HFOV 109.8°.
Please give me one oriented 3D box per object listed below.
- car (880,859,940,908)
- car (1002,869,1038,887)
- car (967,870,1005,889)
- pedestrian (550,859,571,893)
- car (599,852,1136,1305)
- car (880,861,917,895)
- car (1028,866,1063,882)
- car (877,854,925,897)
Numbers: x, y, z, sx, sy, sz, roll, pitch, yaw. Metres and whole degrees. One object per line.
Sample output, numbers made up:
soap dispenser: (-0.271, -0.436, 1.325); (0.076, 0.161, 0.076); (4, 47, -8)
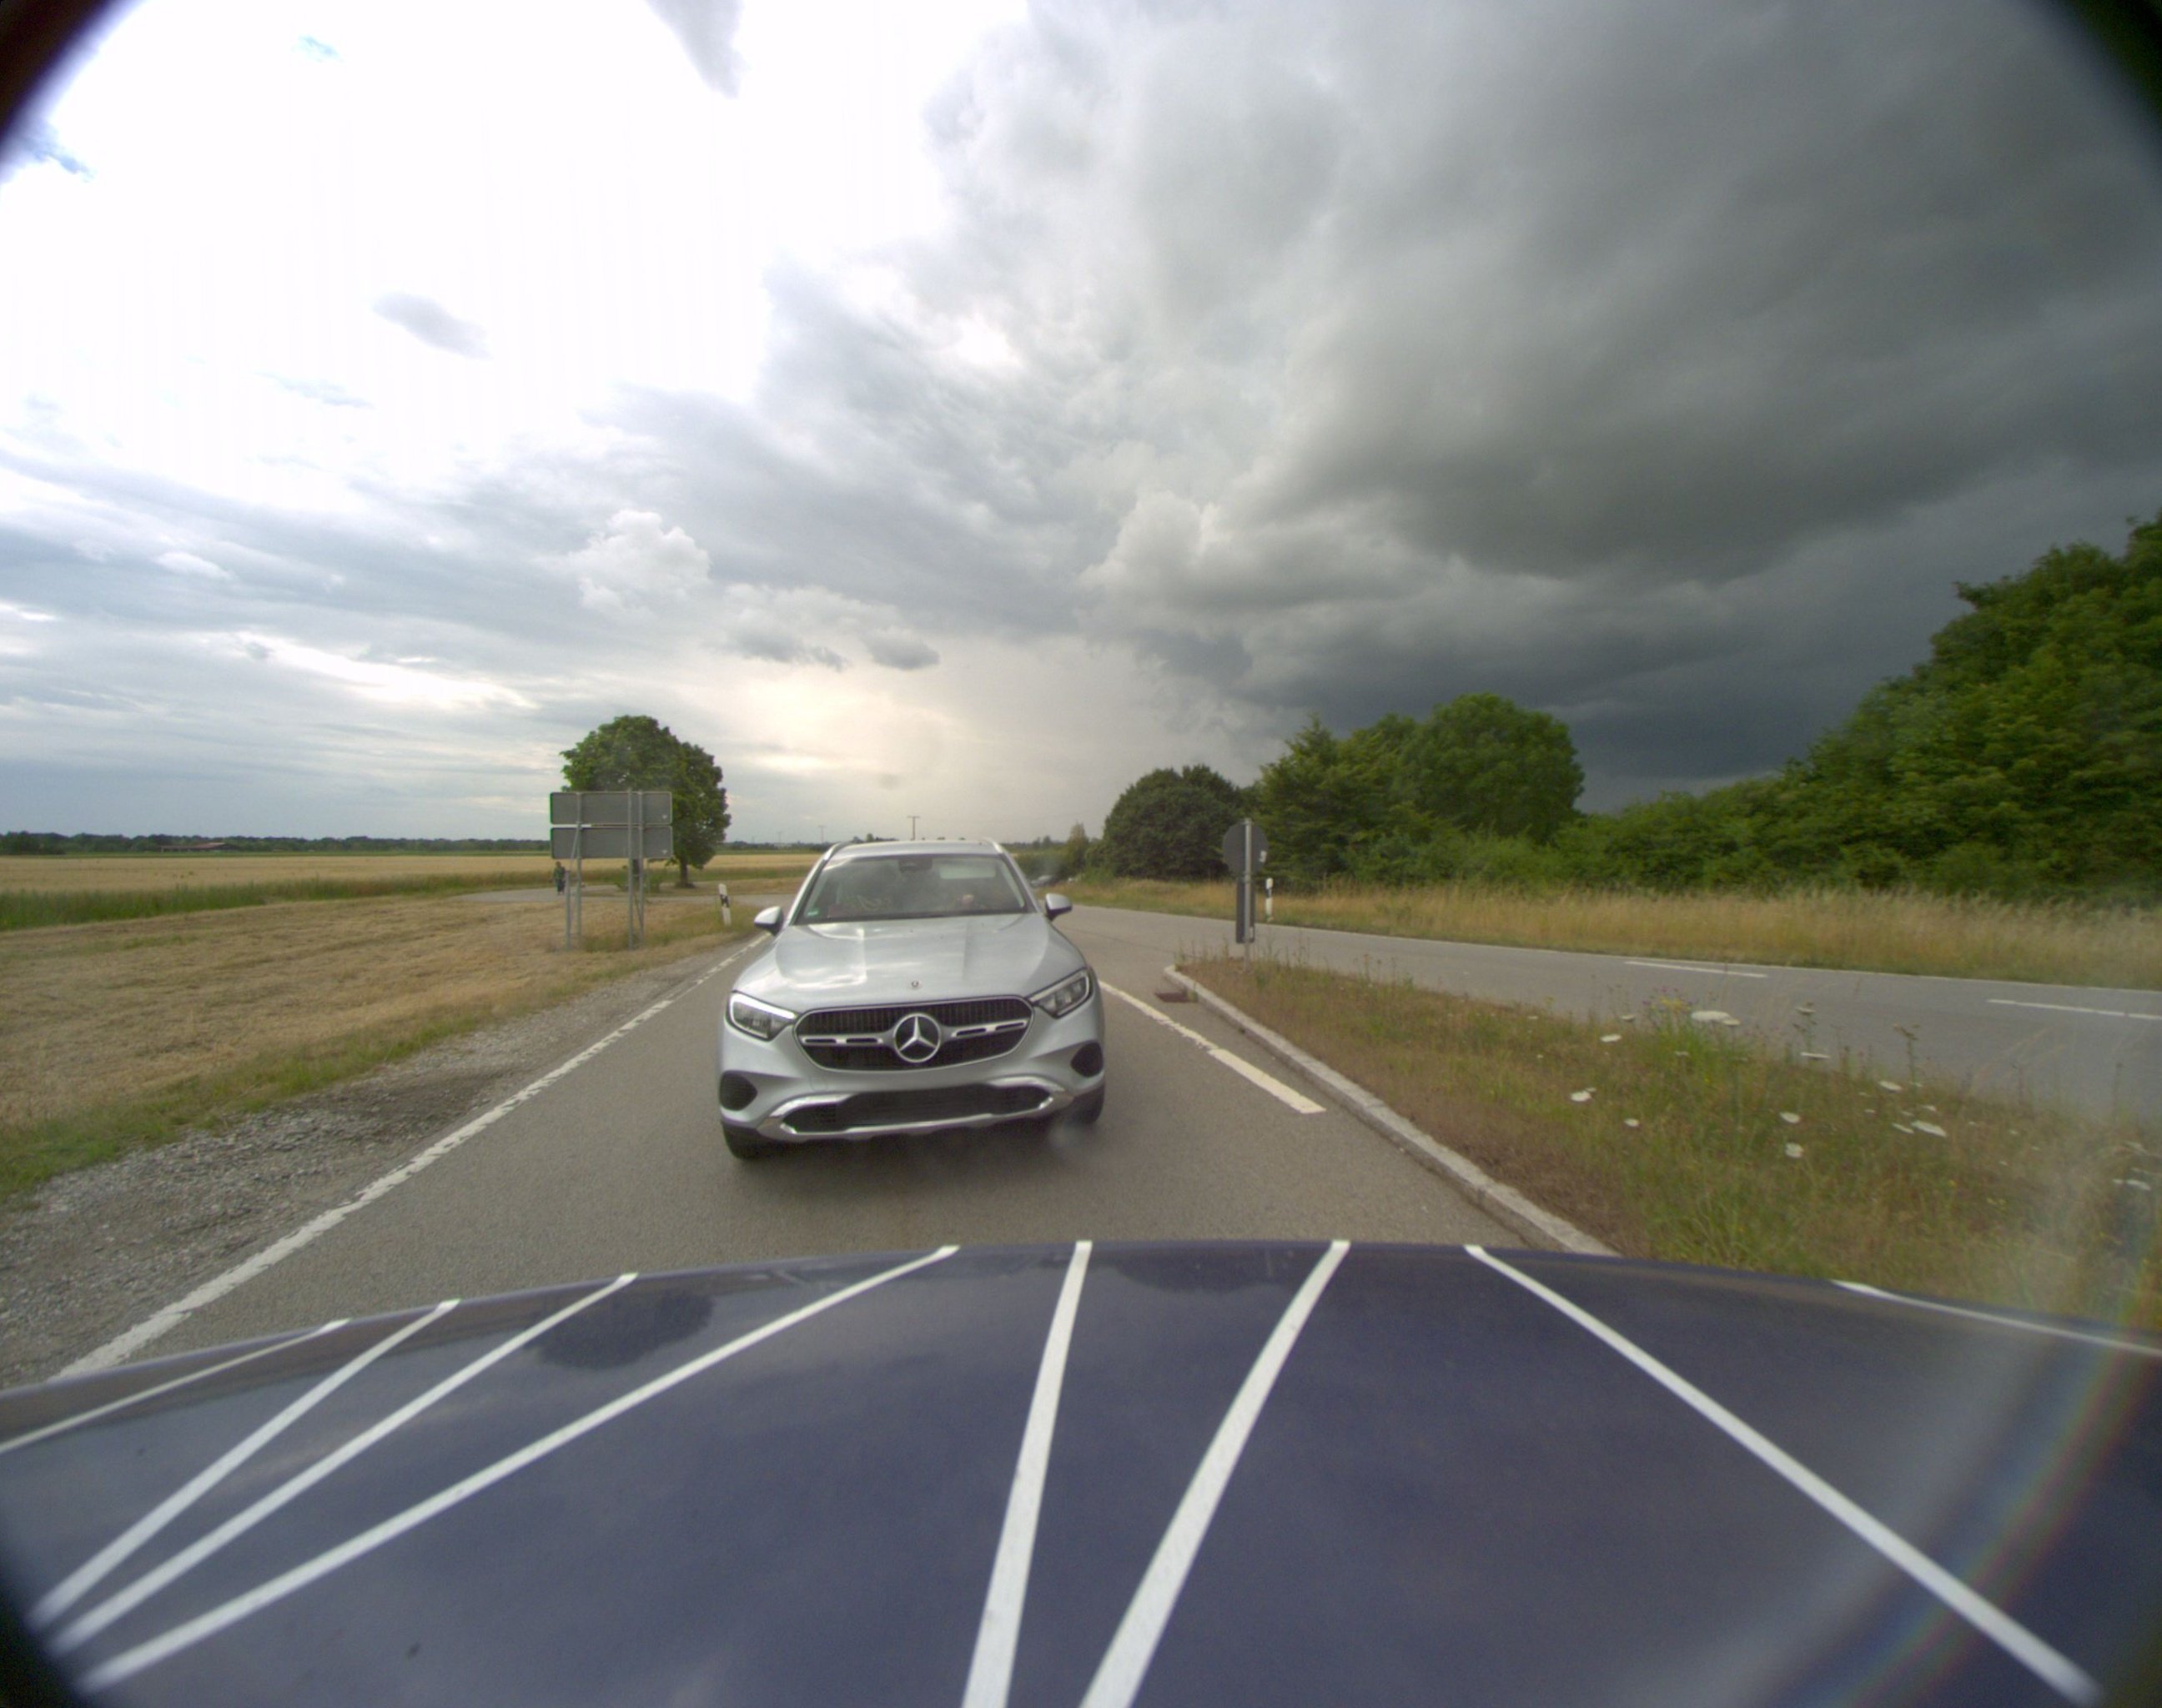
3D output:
car: (-5.644, 0.896, 24.994); (1.723, 1.345, 4.208); (-3, 1, -14)
car: (-5.942, 2.339, 74.667); (1.818, 1.524, 4.007); (0, 1, 24)
car: (-8.445, 2.210, 67.852); (1.818, 1.524, 4.006); (0, 1, 20)
pedestrian: (-25.139, 1.029, 36.710); (0.775, 1.602, 0.942); (-1, 1, -32)
car: (-1.187, 0.842, 5.188); (1.997, 1.577, 4.389); (-3, 1, -11)
car: (-9.468, 1.199, 39.398); (1.723, 1.486, 4.208); (-3, 1, -14)
car: (-3.672, 2.052, 79.730); (1.817, 1.524, 4.008); (0, 1, 29)
car: (-7.343, 0.820, 30.973); (1.723, 1.486, 4.632); (-3, 1, -14)
